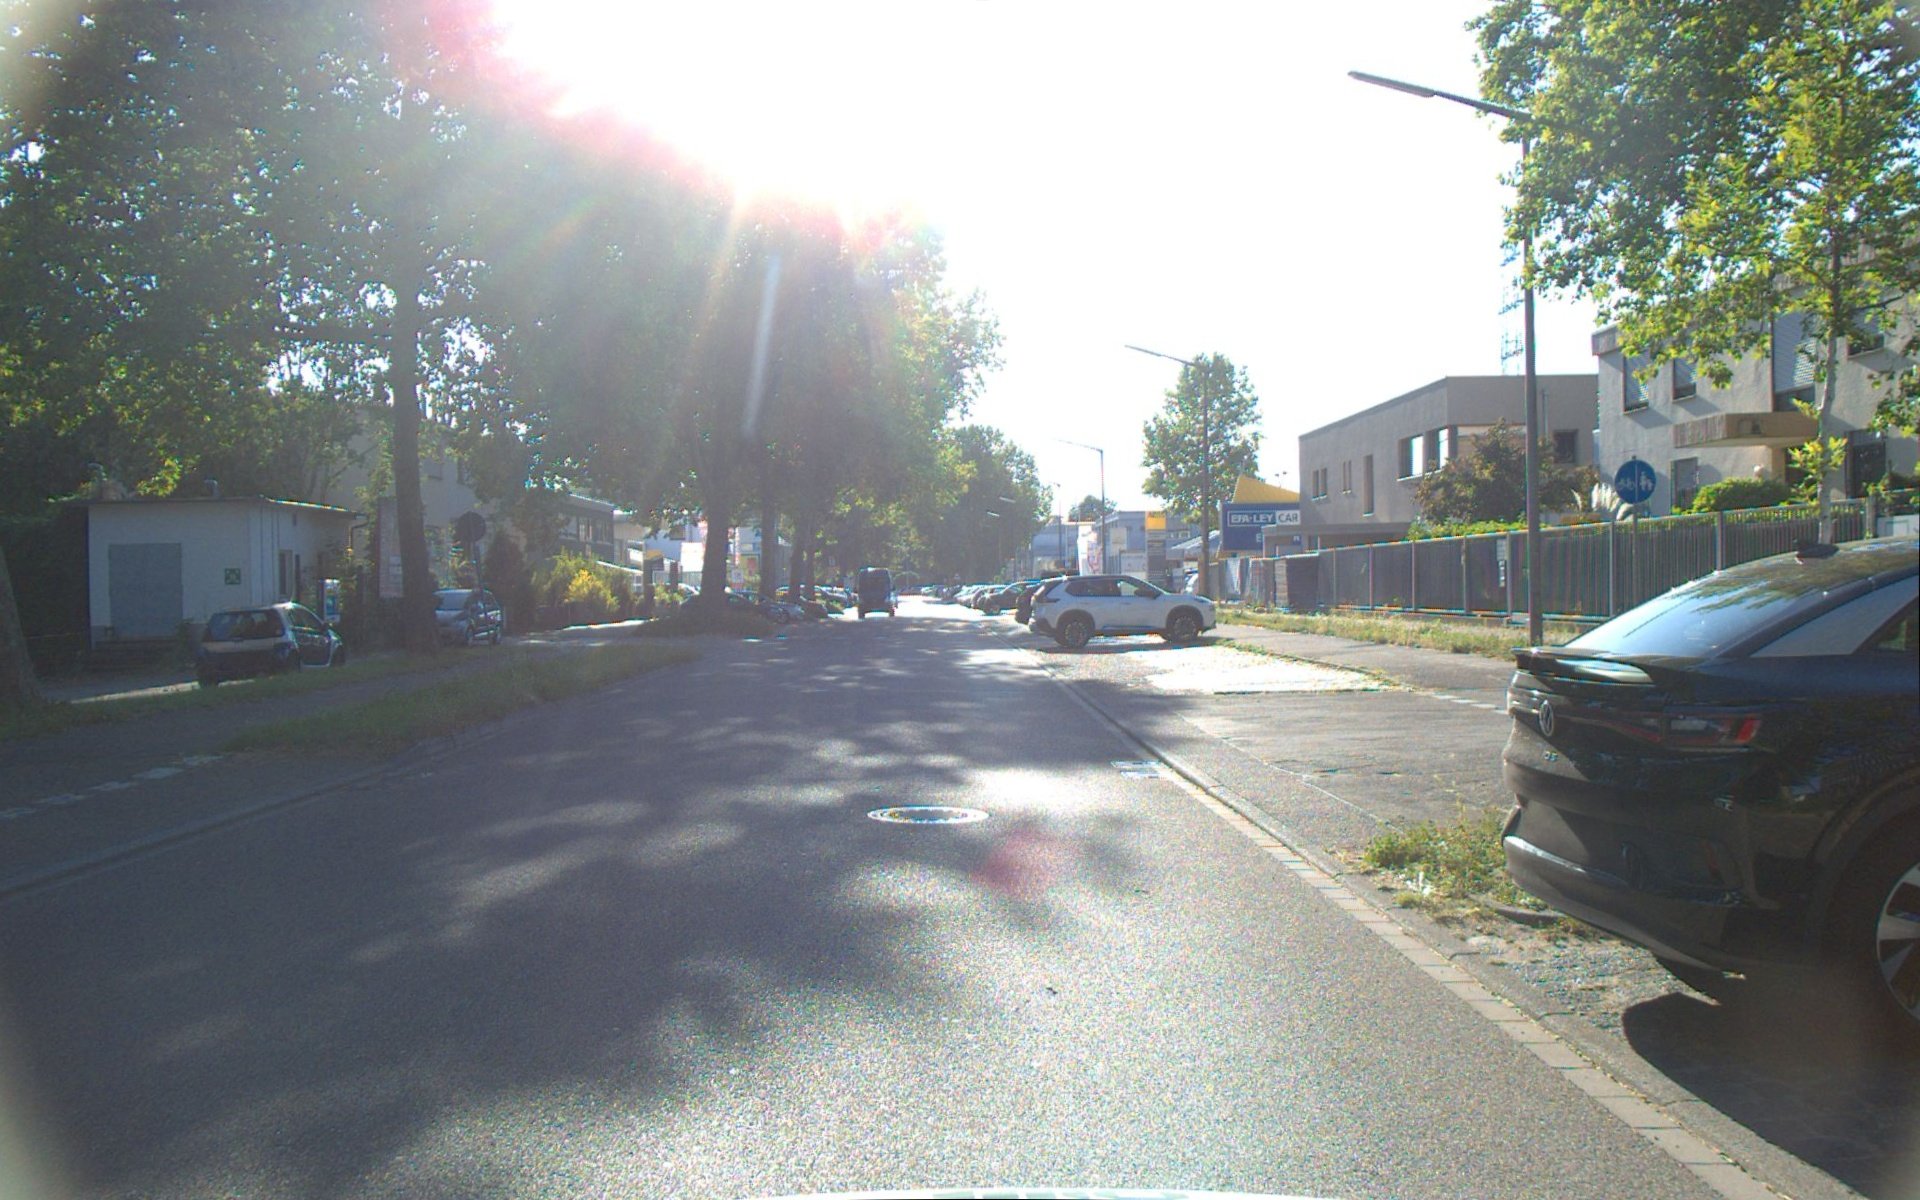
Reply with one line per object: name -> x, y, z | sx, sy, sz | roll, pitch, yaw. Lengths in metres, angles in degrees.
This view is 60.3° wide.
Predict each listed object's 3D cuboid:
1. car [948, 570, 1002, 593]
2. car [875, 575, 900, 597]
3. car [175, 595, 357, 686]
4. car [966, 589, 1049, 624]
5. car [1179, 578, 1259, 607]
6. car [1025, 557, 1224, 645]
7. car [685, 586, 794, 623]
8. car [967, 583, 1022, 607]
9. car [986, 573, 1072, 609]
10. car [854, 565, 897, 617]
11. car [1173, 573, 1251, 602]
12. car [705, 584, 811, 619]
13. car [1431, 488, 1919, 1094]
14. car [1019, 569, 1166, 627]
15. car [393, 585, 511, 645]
car -> 1.263, -1.597, 144.520 | 4.466, 1.625, 2.200 | -4, 0, -4
car -> -5.643, -1.114, 129.148 | 1.801, 1.598, 3.801 | -3, 0, -2
car -> -12.936, 0.705, 31.103 | 1.956, 1.393, 3.916 | -6, 1, -6
car -> 2.665, 0.369, 93.950 | 4.509, 1.641, 1.999 | -4, 0, -2
car -> 13.882, -0.392, 88.798 | 3.910, 1.523, 1.998 | 0, 0, -6
car -> 3.986, 0.015, 40.567 | 4.533, 1.741, 1.999 | -4, 0, -3
car -> -9.079, 0.172, 68.398 | 4.267, 1.447, 1.999 | -1, 1, -4
car -> 2.580, -0.402, 123.553 | 3.910, 1.615, 1.865 | -3, 0, -5
car -> 3.681, -0.496, 89.045 | 4.507, 1.607, 2.000 | -4, 0, 1
car -> -4.648, -0.555, 91.473 | 2.084, 2.705, 7.000 | -2, 1, -1
car -> 13.993, -0.694, 91.947 | 3.910, 1.545, 1.951 | 0, 0, -6
car -> -9.020, 0.066, 74.219 | 4.507, 1.447, 2.000 | -1, 1, -2
car -> 4.297, 0.425, 6.057 | 4.481, 1.745, 1.941 | -4, 0, -5
car -> 4.320, -0.073, 54.536 | 4.533, 1.553, 1.999 | -4, 0, -3
car -> -14.178, 0.397, 46.399 | 1.952, 1.603, 4.273 | 0, 0, 0
